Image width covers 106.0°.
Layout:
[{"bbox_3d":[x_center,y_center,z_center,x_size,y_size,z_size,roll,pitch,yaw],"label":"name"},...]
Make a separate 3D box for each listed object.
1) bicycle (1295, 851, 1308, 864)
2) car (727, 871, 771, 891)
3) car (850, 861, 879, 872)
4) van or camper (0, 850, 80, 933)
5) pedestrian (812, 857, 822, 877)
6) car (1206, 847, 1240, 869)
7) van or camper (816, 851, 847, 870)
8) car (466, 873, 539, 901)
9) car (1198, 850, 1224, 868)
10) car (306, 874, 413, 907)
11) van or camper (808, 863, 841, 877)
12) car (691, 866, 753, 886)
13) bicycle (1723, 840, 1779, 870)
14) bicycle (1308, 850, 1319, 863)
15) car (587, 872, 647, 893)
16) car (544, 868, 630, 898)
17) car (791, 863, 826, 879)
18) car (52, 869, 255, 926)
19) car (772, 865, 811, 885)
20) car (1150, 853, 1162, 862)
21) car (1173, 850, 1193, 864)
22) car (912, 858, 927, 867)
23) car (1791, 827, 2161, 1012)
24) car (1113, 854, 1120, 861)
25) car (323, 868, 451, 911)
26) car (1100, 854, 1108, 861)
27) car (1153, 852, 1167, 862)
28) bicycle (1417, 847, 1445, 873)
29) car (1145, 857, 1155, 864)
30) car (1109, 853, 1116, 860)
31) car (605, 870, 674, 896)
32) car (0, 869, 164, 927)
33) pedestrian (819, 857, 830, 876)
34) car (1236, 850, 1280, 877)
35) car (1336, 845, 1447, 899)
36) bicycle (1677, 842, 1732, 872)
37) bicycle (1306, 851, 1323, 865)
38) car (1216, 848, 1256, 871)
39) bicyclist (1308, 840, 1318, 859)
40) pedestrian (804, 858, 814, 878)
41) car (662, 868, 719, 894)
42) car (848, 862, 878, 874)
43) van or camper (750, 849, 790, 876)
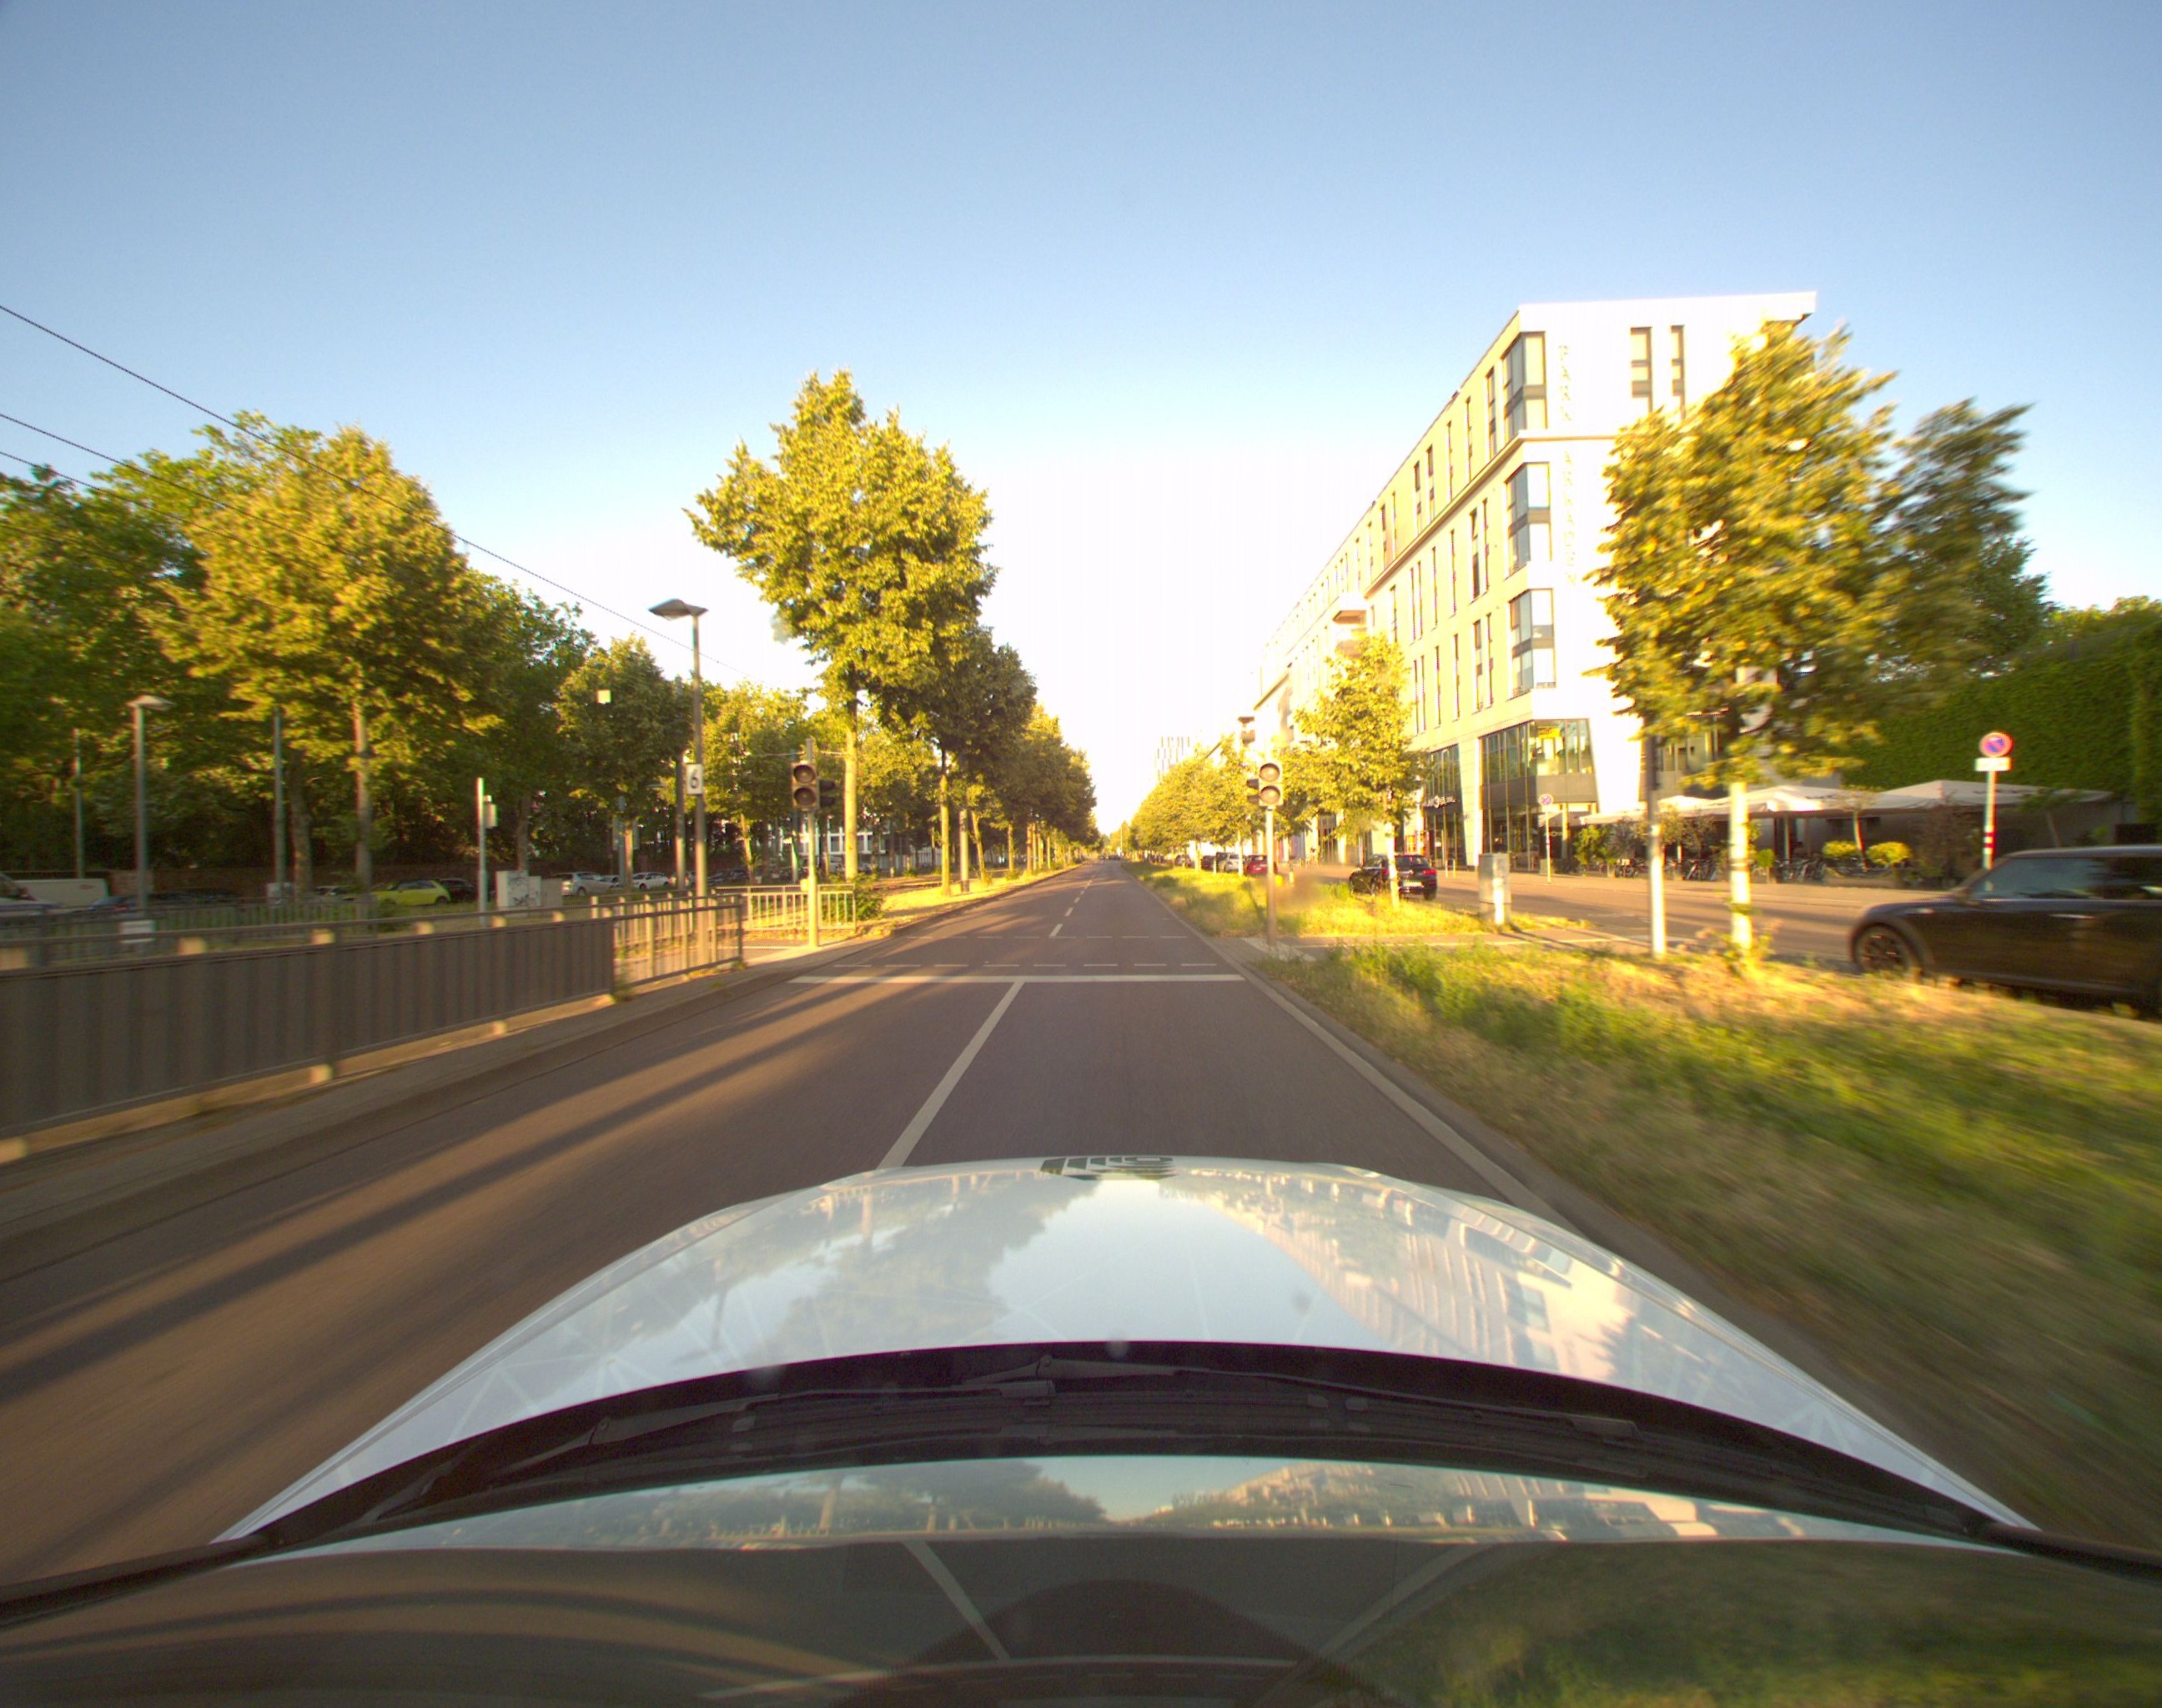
[{"bbox_3d":[18.330,0.284,67.835,0.532,1.059,1.610,-2,0,-4],"label":"bicycle"},{"bbox_3d":[-28.497,2.281,70.103,1.793,1.560,3.845,-2,0,7],"label":"car"},{"bbox_3d":[-33.215,1.910,124.938,3.976,1.640,1.921,-2,0,-2],"label":"car"},{"bbox_3d":[-32.006,1.098,22.060,2.272,2.365,5.793,-2,0,6],"label":"van or camper"},{"bbox_3d":[-24.684,1.228,76.251,0.692,1.870,0.864,-2,-1,-6],"label":"pedestrian"},{"bbox_3d":[11.064,0.326,63.837,1.946,1.623,4.822,1,0,1],"label":"car"},{"bbox_3d":[-41.494,1.010,135.557,2.697,3.085,6.272,-1,0,6],"label":"van or camper"},{"bbox_3d":[-37.543,2.126,52.996,1.757,1.596,3.844,-2,0,5],"label":"car"},{"bbox_3d":[11.362,0.397,71.218,1.717,1.501,4.235,0,0,2],"label":"car"},{"bbox_3d":[-38.469,1.921,43.584,1.851,1.492,4.055,-2,0,5],"label":"car"},{"bbox_3d":[-34.302,2.146,109.008,3.985,1.791,1.994,-2,0,-9],"label":"van or camper"},{"bbox_3d":[-27.352,1.666,62.276,1.984,1.315,5.150,-2,0,6],"label":"car"},{"bbox_3d":[26.196,0.036,31.841,1.790,1.107,0.500,-2,0,-3],"label":"bicycle"},{"bbox_3d":[19.935,0.234,69.849,0.540,1.118,1.915,-2,0,5],"label":"bicycle"},{"bbox_3d":[-36.272,2.199,63.738,1.982,1.486,4.010,-2,0,9],"label":"car"},{"bbox_3d":[-28.481,1.641,47.121,1.985,1.499,4.560,-2,0,3],"label":"car"},{"bbox_3d":[-28.245,1.745,84.578,1.984,1.486,4.005,-2,0,5],"label":"car"},{"bbox_3d":[-31.121,1.393,27.567,1.987,1.636,4.209,-2,0,0],"label":"car"},{"bbox_3d":[-28.245,2.039,79.599,1.986,1.750,4.792,-2,0,1],"label":"car"},{"bbox_3d":[13.694,0.598,148.379,1.848,1.529,4.484,0,0,2],"label":"car"},{"bbox_3d":[12.196,0.338,97.412,1.802,1.501,4.826,-1,0,1],"label":"car"},{"bbox_3d":[-30.404,1.559,153.589,1.852,1.581,3.494,-1,0,3],"label":"car"},{"bbox_3d":[9.048,0.483,7.407,1.743,1.398,4.001,-1,0,1],"label":"car"},{"bbox_3d":[9.946,0.905,227.950,1.986,2.013,4.001,-1,0,1],"label":"car"},{"bbox_3d":[-30.100,1.497,35.502,1.986,1.640,4.002,-2,0,2],"label":"car"},{"bbox_3d":[6.753,0.936,238.591,2.080,2.013,4.001,-1,0,1],"label":"car"},{"bbox_3d":[13.773,0.496,141.422,1.937,1.549,4.811,-2,0,0],"label":"car"},{"bbox_3d":[17.351,0.281,40.396,0.615,1.231,1.670,-2,0,0],"label":"bicycle"},{"bbox_3d":[14.085,1.322,166.842,1.717,1.529,4.270,0,0,2],"label":"car"},{"bbox_3d":[9.365,0.812,244.366,1.986,2.013,4.002,-2,0,2],"label":"car"},{"bbox_3d":[-28.503,1.834,52.746,1.892,1.499,4.309,-2,0,3],"label":"car"},{"bbox_3d":[-39.903,1.673,31.899,1.984,2.013,5.066,-2,0,5],"label":"car"},{"bbox_3d":[-23.873,1.154,75.831,0.691,1.743,0.866,-2,-1,0],"label":"pedestrian"},{"bbox_3d":[10.532,0.529,48.651,1.802,1.501,3.960,-1,0,1],"label":"car"},{"bbox_3d":[9.443,0.501,25.156,1.802,1.501,4.369,-1,0,1],"label":"car"},{"bbox_3d":[24.197,0.113,31.617,1.790,1.107,0.500,-2,0,-3],"label":"bicycle"},{"bbox_3d":[17.842,0.301,62.274,0.618,1.033,2.261,-2,0,1],"label":"bicycle"},{"bbox_3d":[10.614,0.352,56.119,1.914,1.501,5.011,-1,0,1],"label":"car"},{"bbox_3d":[19.911,-0.396,69.867,0.542,1.568,1.021,-2,0,5],"label":"bicyclist"},{"bbox_3d":[-25.390,1.294,75.968,0.692,1.759,0.864,-2,-1,-6],"label":"pedestrian"},{"bbox_3d":[-29.951,2.043,62.611,1.983,1.750,4.168,-2,0,7],"label":"car"},{"bbox_3d":[-32.799,2.095,122.554,3.976,1.640,1.921,-2,0,-2],"label":"car"},{"bbox_3d":[-33.916,0.921,88.956,2.078,2.735,5.495,-2,0,0],"label":"van or camper"}]
